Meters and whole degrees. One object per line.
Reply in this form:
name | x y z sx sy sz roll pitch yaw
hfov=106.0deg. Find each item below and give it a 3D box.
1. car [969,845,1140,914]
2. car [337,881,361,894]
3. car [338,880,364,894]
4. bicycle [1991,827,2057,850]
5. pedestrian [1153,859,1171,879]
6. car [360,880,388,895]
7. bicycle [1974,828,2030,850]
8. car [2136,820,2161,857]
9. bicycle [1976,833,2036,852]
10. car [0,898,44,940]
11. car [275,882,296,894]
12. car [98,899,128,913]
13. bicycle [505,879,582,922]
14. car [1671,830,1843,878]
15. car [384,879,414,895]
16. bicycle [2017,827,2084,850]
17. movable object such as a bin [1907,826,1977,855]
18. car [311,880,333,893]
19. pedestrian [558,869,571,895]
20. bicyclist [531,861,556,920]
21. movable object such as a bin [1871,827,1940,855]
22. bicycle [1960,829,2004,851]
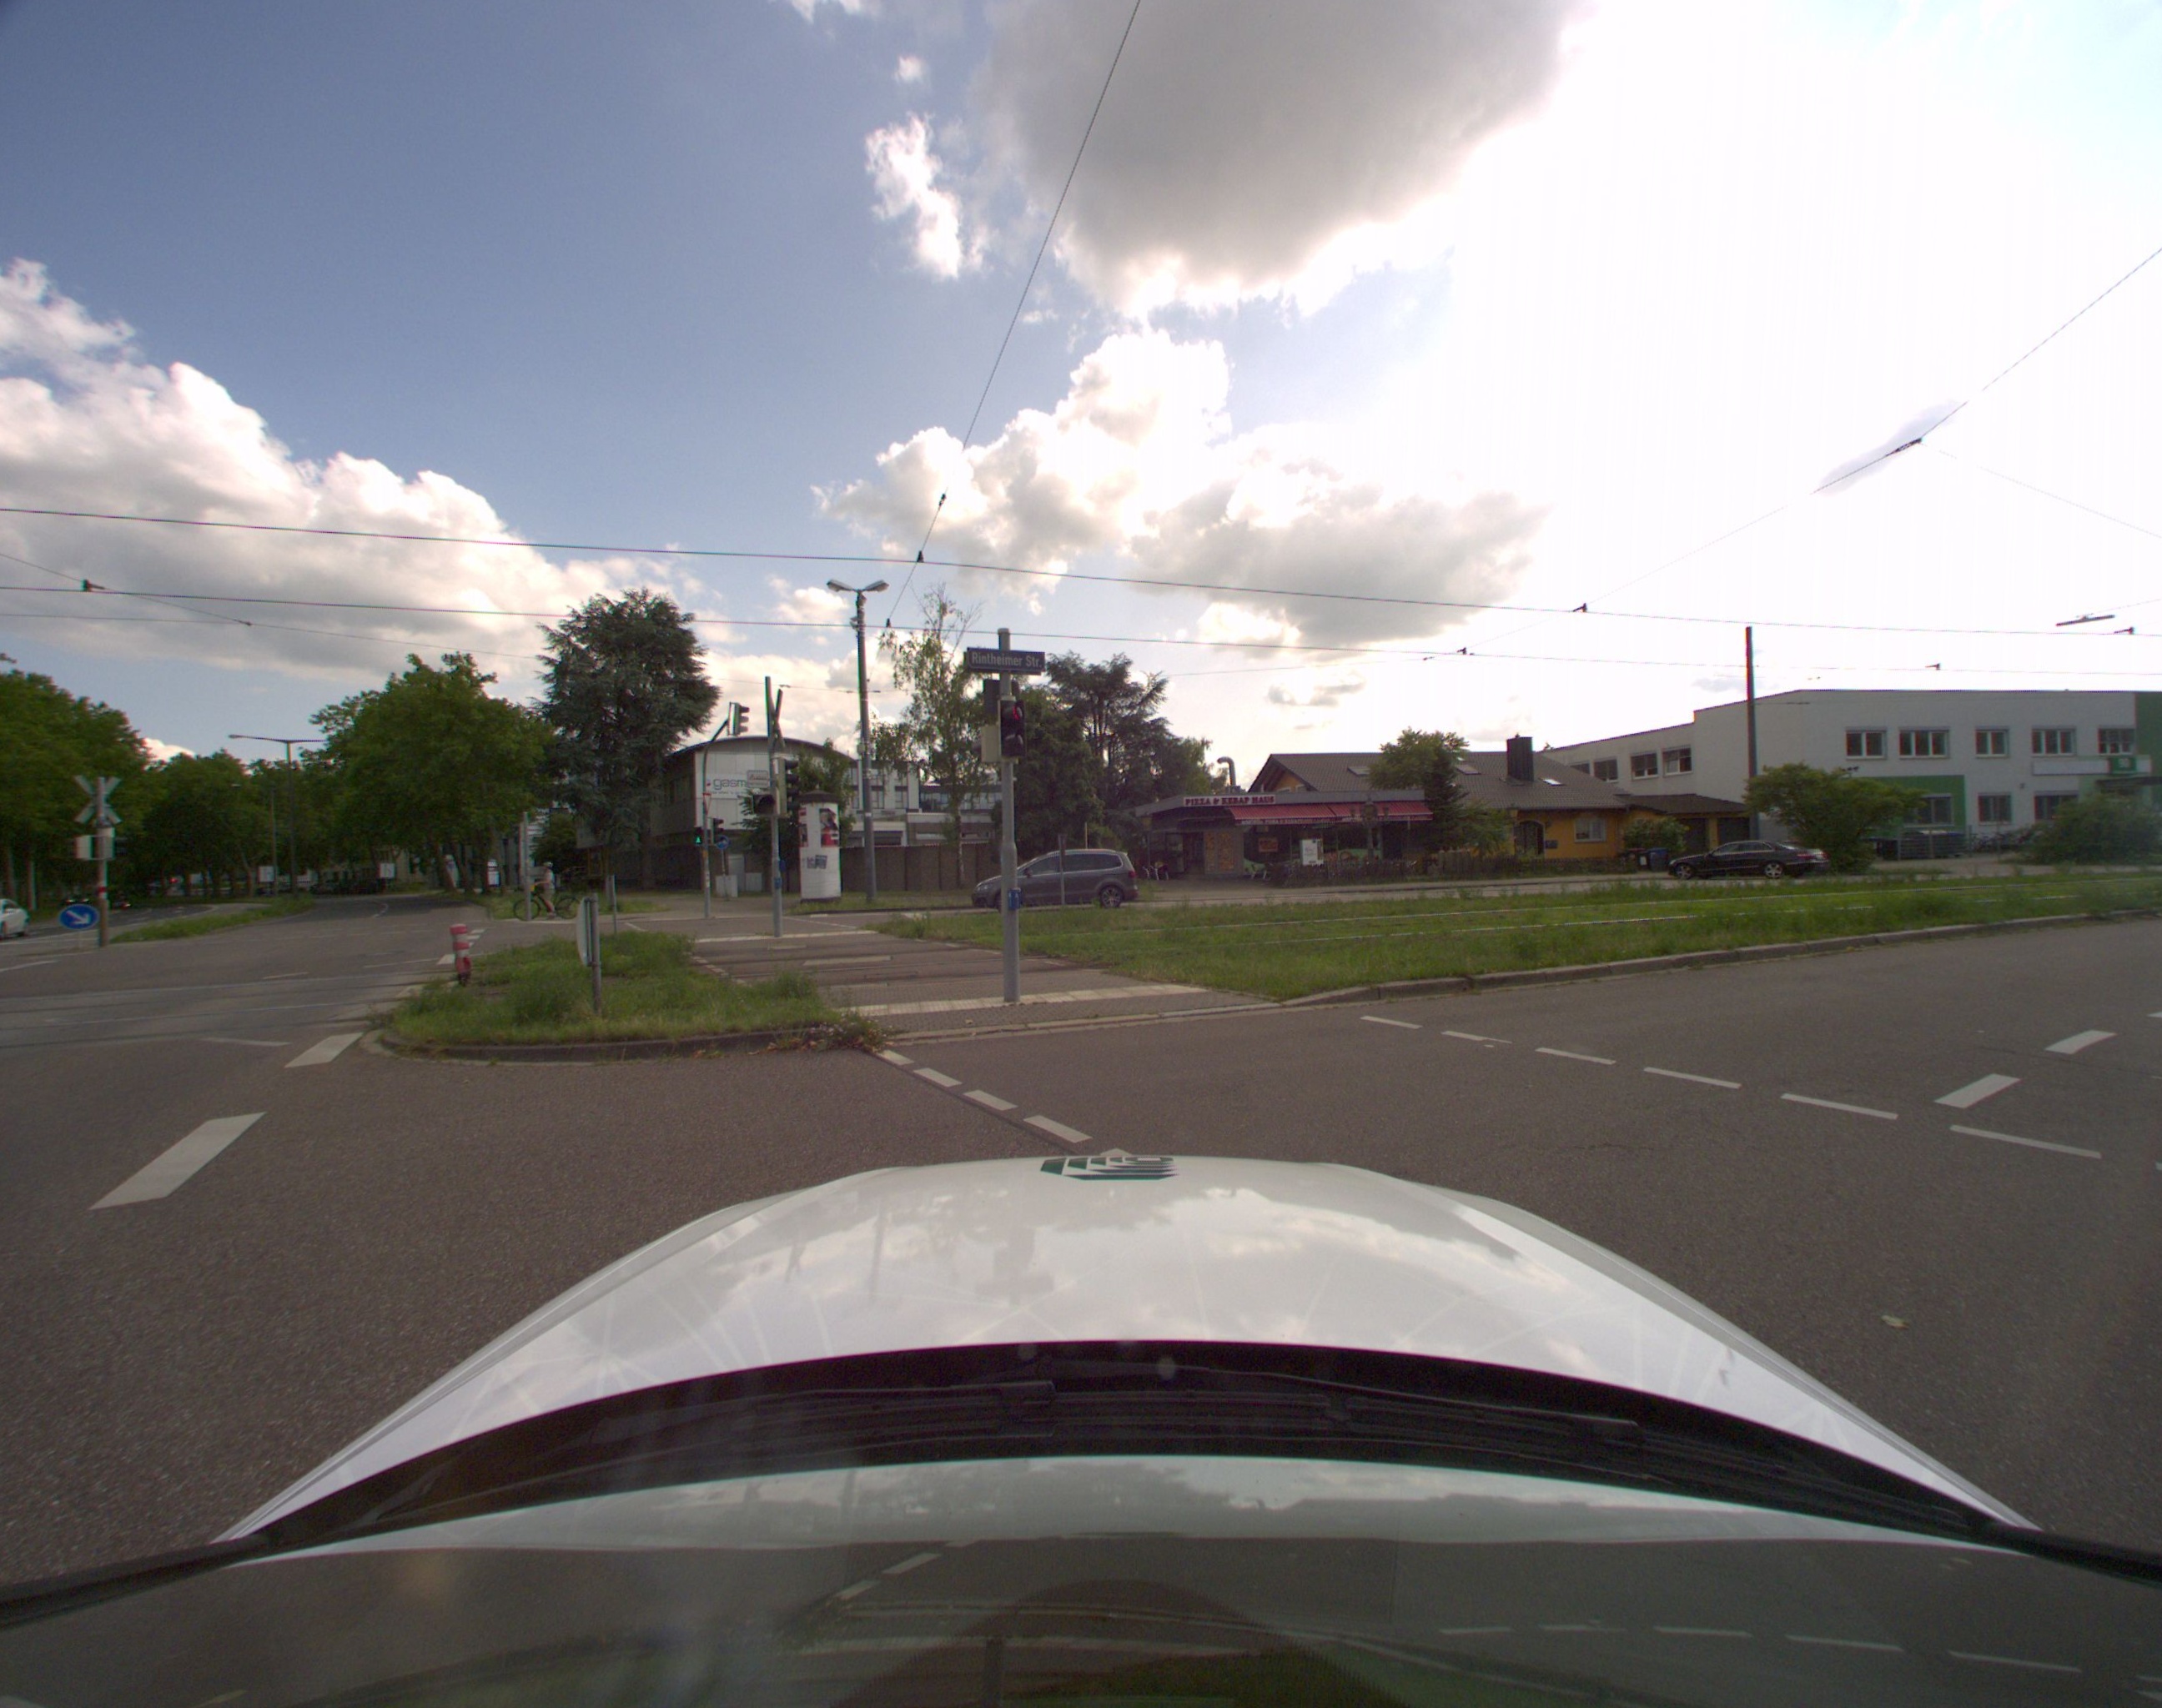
car | -0.829 0.697 23.630 4.724 1.722 1.994 -2 0 -9
car | -100.188 4.544 111.426 3.949 1.573 2.013 0 2 41
car | -93.013 4.195 103.751 3.949 1.573 2.013 0 2 41
bicycle | 51.908 -0.840 44.868 0.756 1.166 2.348 -2 0 -4
pedestrian | 3.907 0.728 39.375 0.723 0.929 0.776 -1 1 -5
car | -86.077 4.105 99.090 3.949 1.573 2.013 0 2 41
bicycle | 48.738 -0.803 43.122 0.734 1.081 1.790 -2 0 -12
car | 50.833 -0.772 36.406 1.913 1.629 4.263 -2 0 -42
bicycle | 50.984 -0.628 44.936 0.727 0.970 2.155 -2 0 -5
car | -38.288 2.285 28.310 1.840 1.364 4.090 -2 0 -39
car | -124.621 5.309 127.617 3.949 1.573 2.013 0 2 41
car | -96.381 5.176 81.074 3.660 1.191 1.650 -2 0 36
bicycle | -16.994 1.460 25.821 1.957 1.235 0.536 -2 2 -28
car | 25.347 0.054 30.719 2.006 1.580 4.536 -2 -1 -29
car | -76.899 3.691 91.767 3.949 1.573 2.013 0 2 41
bicycle | 53.097 -0.848 44.636 0.744 1.166 2.416 -2 0 -2
movable object such as a bin | 43.179 -0.675 40.864 2.122 1.326 1.374 -2 0 -6
car | -112.643 4.819 120.883 3.949 1.573 2.013 0 2 41
pedestrian | -33.267 1.798 52.425 0.625 1.569 0.553 -2 2 -37
bicyclist | -17.030 1.143 25.807 0.546 1.809 0.536 -2 1 -28
movable object such as a bin | 41.021 -0.631 40.546 2.107 1.326 1.374 -2 0 -6
bicycle | 49.463 -0.765 44.737 0.700 1.166 1.624 -2 0 7
